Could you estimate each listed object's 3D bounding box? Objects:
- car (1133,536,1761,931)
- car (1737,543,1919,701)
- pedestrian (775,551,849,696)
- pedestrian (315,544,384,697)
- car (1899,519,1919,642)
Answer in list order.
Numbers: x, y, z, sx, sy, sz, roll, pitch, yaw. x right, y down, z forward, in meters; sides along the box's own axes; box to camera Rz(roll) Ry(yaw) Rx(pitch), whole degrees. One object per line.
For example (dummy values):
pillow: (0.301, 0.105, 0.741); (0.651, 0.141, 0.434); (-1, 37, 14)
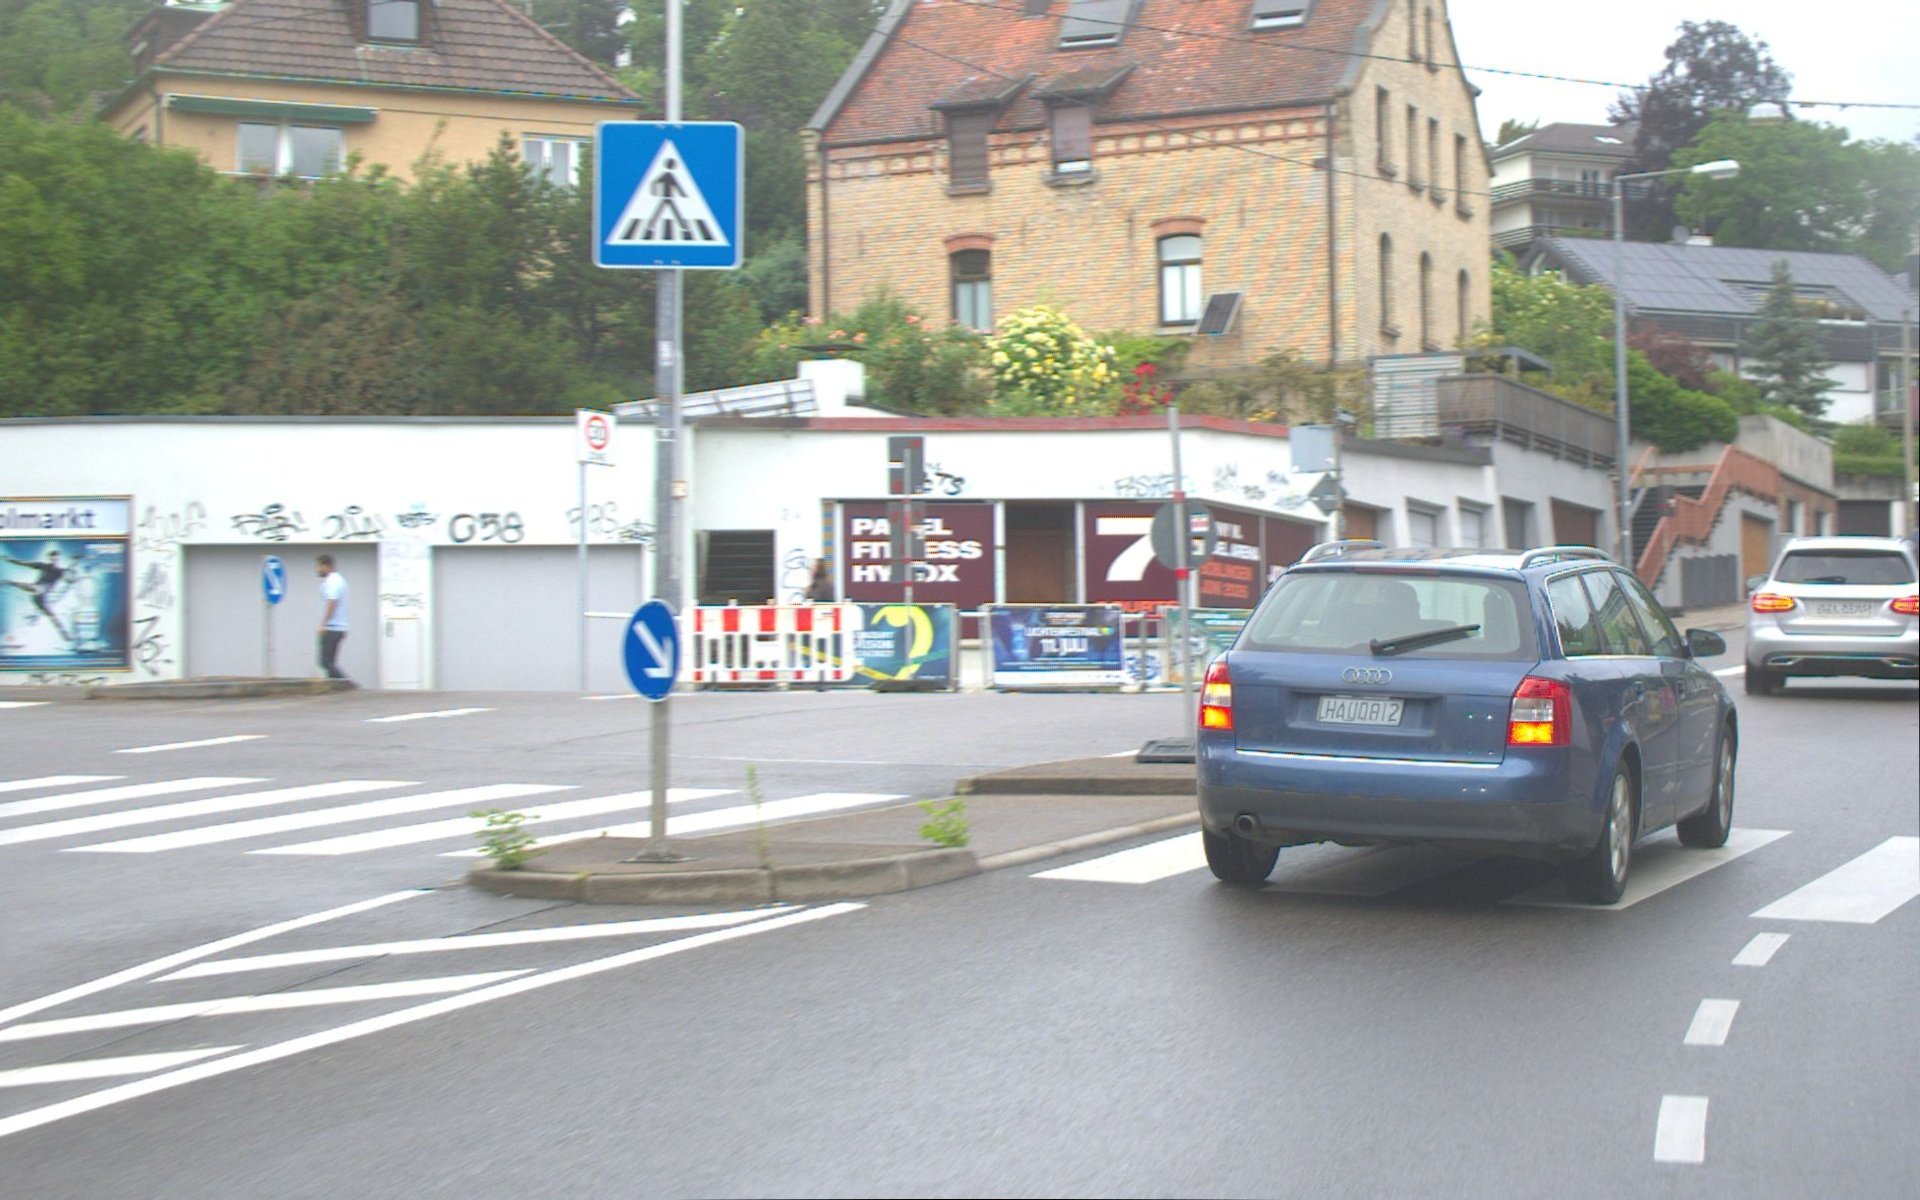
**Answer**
car: (2.289, 0.461, 15.166); (1.813, 1.434, 4.077); (0, 2, 22)
car: (8.307, 0.165, 31.848); (1.813, 1.356, 3.997); (1, 1, 18)
pedestrian: (-1.745, 0.282, 40.576); (0.582, 1.683, 0.626); (-2, -1, -32)
pedestrian: (-7.241, 0.237, 40.809); (0.704, 1.799, 0.809); (0, 0, -4)
car: (15.461, -0.330, 52.499); (1.826, 1.813, 3.996); (0, 1, 20)
